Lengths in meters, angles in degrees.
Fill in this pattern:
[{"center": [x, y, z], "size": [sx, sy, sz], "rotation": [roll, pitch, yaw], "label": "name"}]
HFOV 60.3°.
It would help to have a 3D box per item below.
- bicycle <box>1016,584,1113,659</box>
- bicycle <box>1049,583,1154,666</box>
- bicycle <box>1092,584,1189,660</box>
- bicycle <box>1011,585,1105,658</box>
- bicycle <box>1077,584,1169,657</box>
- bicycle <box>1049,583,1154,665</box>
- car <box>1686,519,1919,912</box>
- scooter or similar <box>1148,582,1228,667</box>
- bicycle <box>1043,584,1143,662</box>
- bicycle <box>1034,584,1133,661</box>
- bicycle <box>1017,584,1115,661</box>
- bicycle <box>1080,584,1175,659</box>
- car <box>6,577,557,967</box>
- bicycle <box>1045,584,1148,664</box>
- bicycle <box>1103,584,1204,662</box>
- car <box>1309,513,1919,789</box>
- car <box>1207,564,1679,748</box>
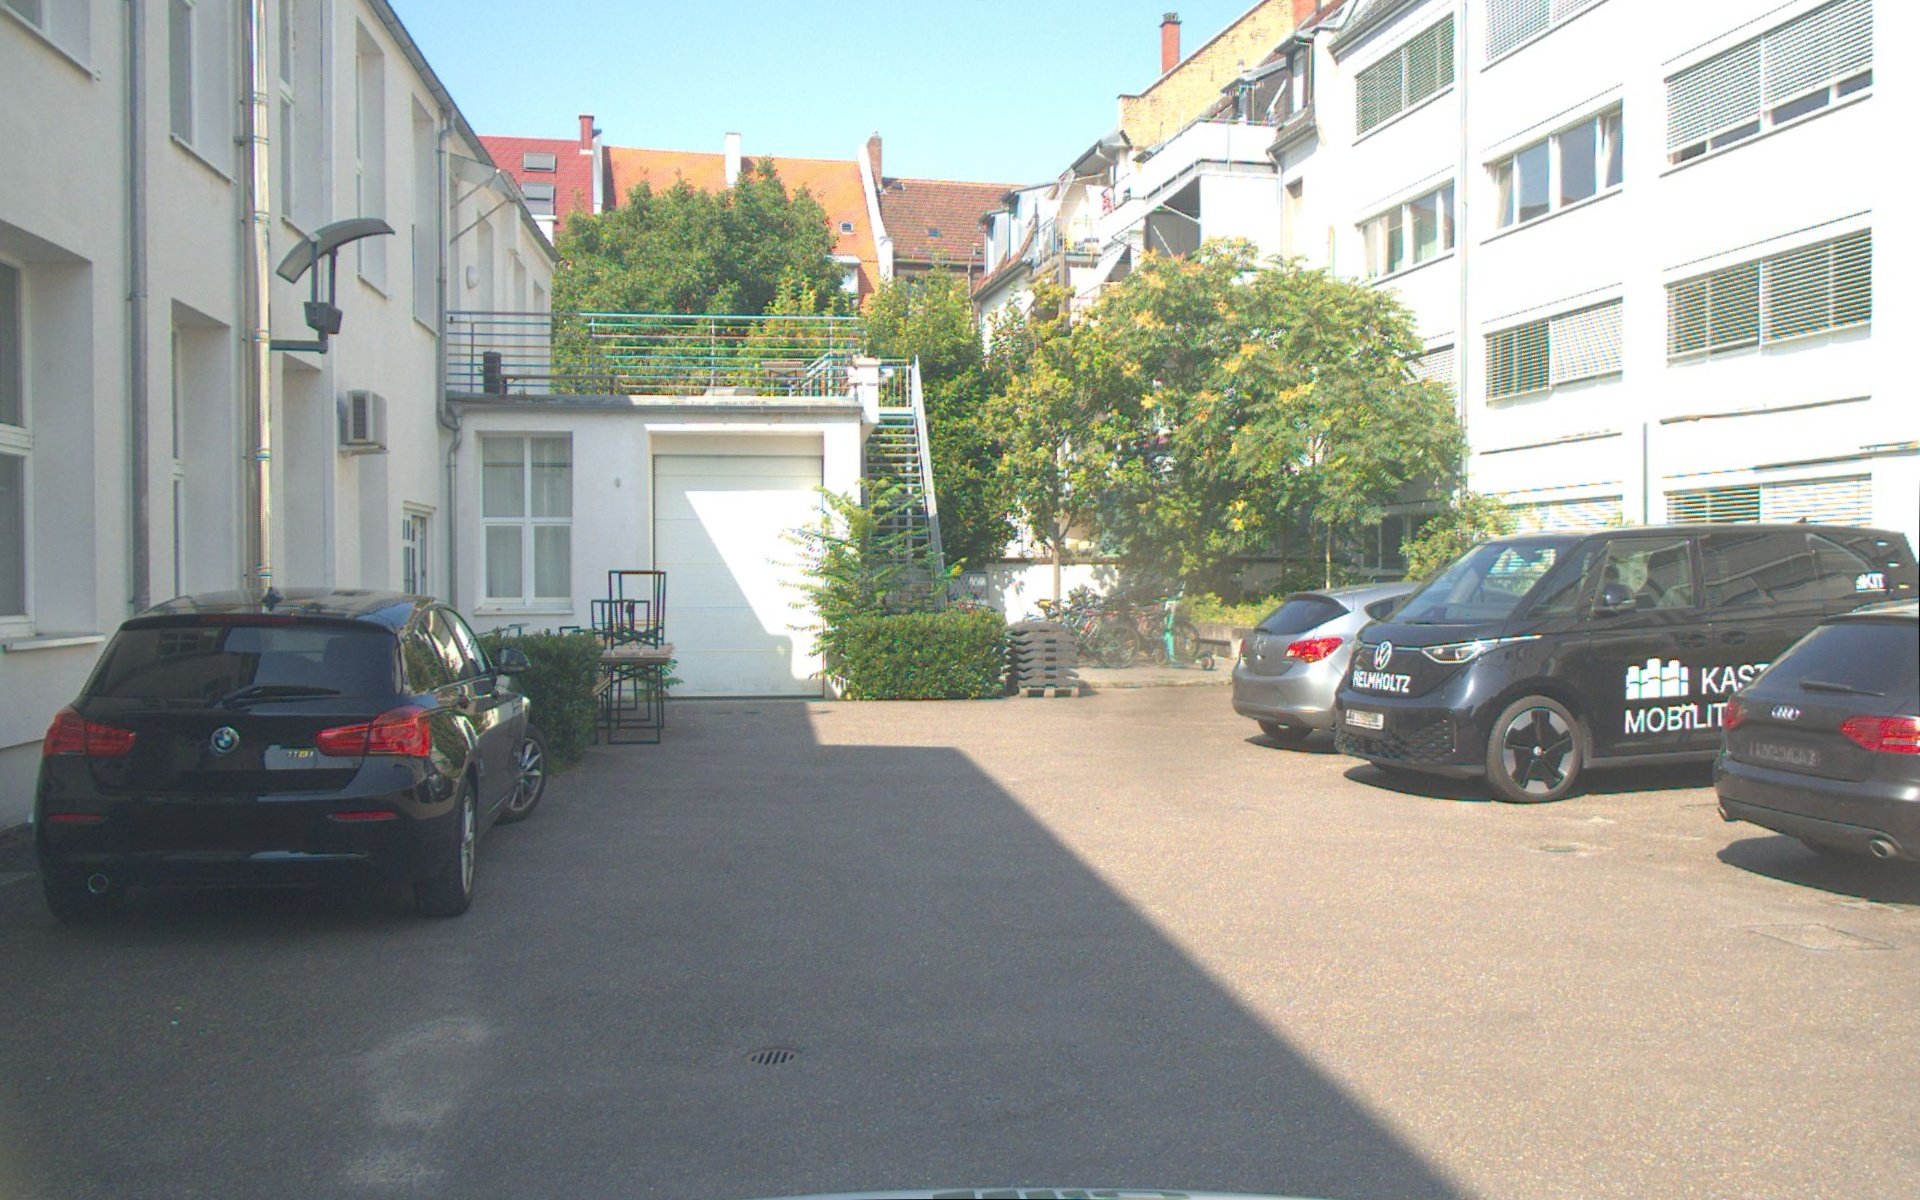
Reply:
[{"center": [1.798, 0.368, 28.557], "size": [1.595, 1.235, 0.423], "rotation": [-2, 1, -12], "label": "bicycle"}, {"center": [2.210, 0.377, 25.849], "size": [1.591, 1.235, 0.326], "rotation": [-1, 1, -6], "label": "bicycle"}, {"center": [3.034, 0.367, 27.785], "size": [1.588, 1.235, 0.424], "rotation": [-1, 1, 6], "label": "bicycle"}, {"center": [1.726, 0.366, 29.154], "size": [1.594, 1.235, 0.423], "rotation": [-1, 1, -12], "label": "bicycle"}, {"center": [2.898, 0.361, 29.381], "size": [1.589, 1.235, 0.424], "rotation": [-1, 1, 6], "label": "bicycle"}, {"center": [2.239, 0.376, 26.175], "size": [1.591, 1.235, 0.326], "rotation": [-1, 1, -6], "label": "bicycle"}, {"center": [6.065, 0.494, 8.431], "size": [4.041, 1.721, 1.767], "rotation": [0, 0, -10], "label": "car"}, {"center": [3.535, 0.379, 25.762], "size": [0.376, 1.283, 1.330], "rotation": [-2, 1, -38], "label": "scooter or similar"}, {"center": [2.162, 0.373, 26.915], "size": [1.589, 1.235, 0.327], "rotation": [-1, 1, 3], "label": "bicycle"}, {"center": [2.045, 0.372, 27.268], "size": [1.588, 1.235, 0.327], "rotation": [-1, 1, 6], "label": "bicycle"}, {"center": [1.787, 0.370, 27.917], "size": [1.592, 1.235, 0.423], "rotation": [-1, 1, -8], "label": "bicycle"}, {"center": [2.873, 0.365, 28.346], "size": [1.589, 1.235, 0.424], "rotation": [-1, 1, 6], "label": "bicycle"}, {"center": [-3.098, 0.648, 8.387], "size": [1.657, 1.484, 3.916], "rotation": [0, 0, -8], "label": "car"}, {"center": [2.177, 0.375, 26.464], "size": [1.591, 1.235, 0.326], "rotation": [-1, 1, -6], "label": "bicycle"}, {"center": [3.151, 0.370, 26.934], "size": [1.588, 1.235, 0.327], "rotation": [-1, 1, 8], "label": "bicycle"}, {"center": [5.089, 0.311, 12.541], "size": [4.427, 1.826, 1.875], "rotation": [-1, 0, -16], "label": "car"}, {"center": [4.443, 0.464, 15.365], "size": [3.868, 1.508, 1.767], "rotation": [-1, 0, -16], "label": "car"}]
